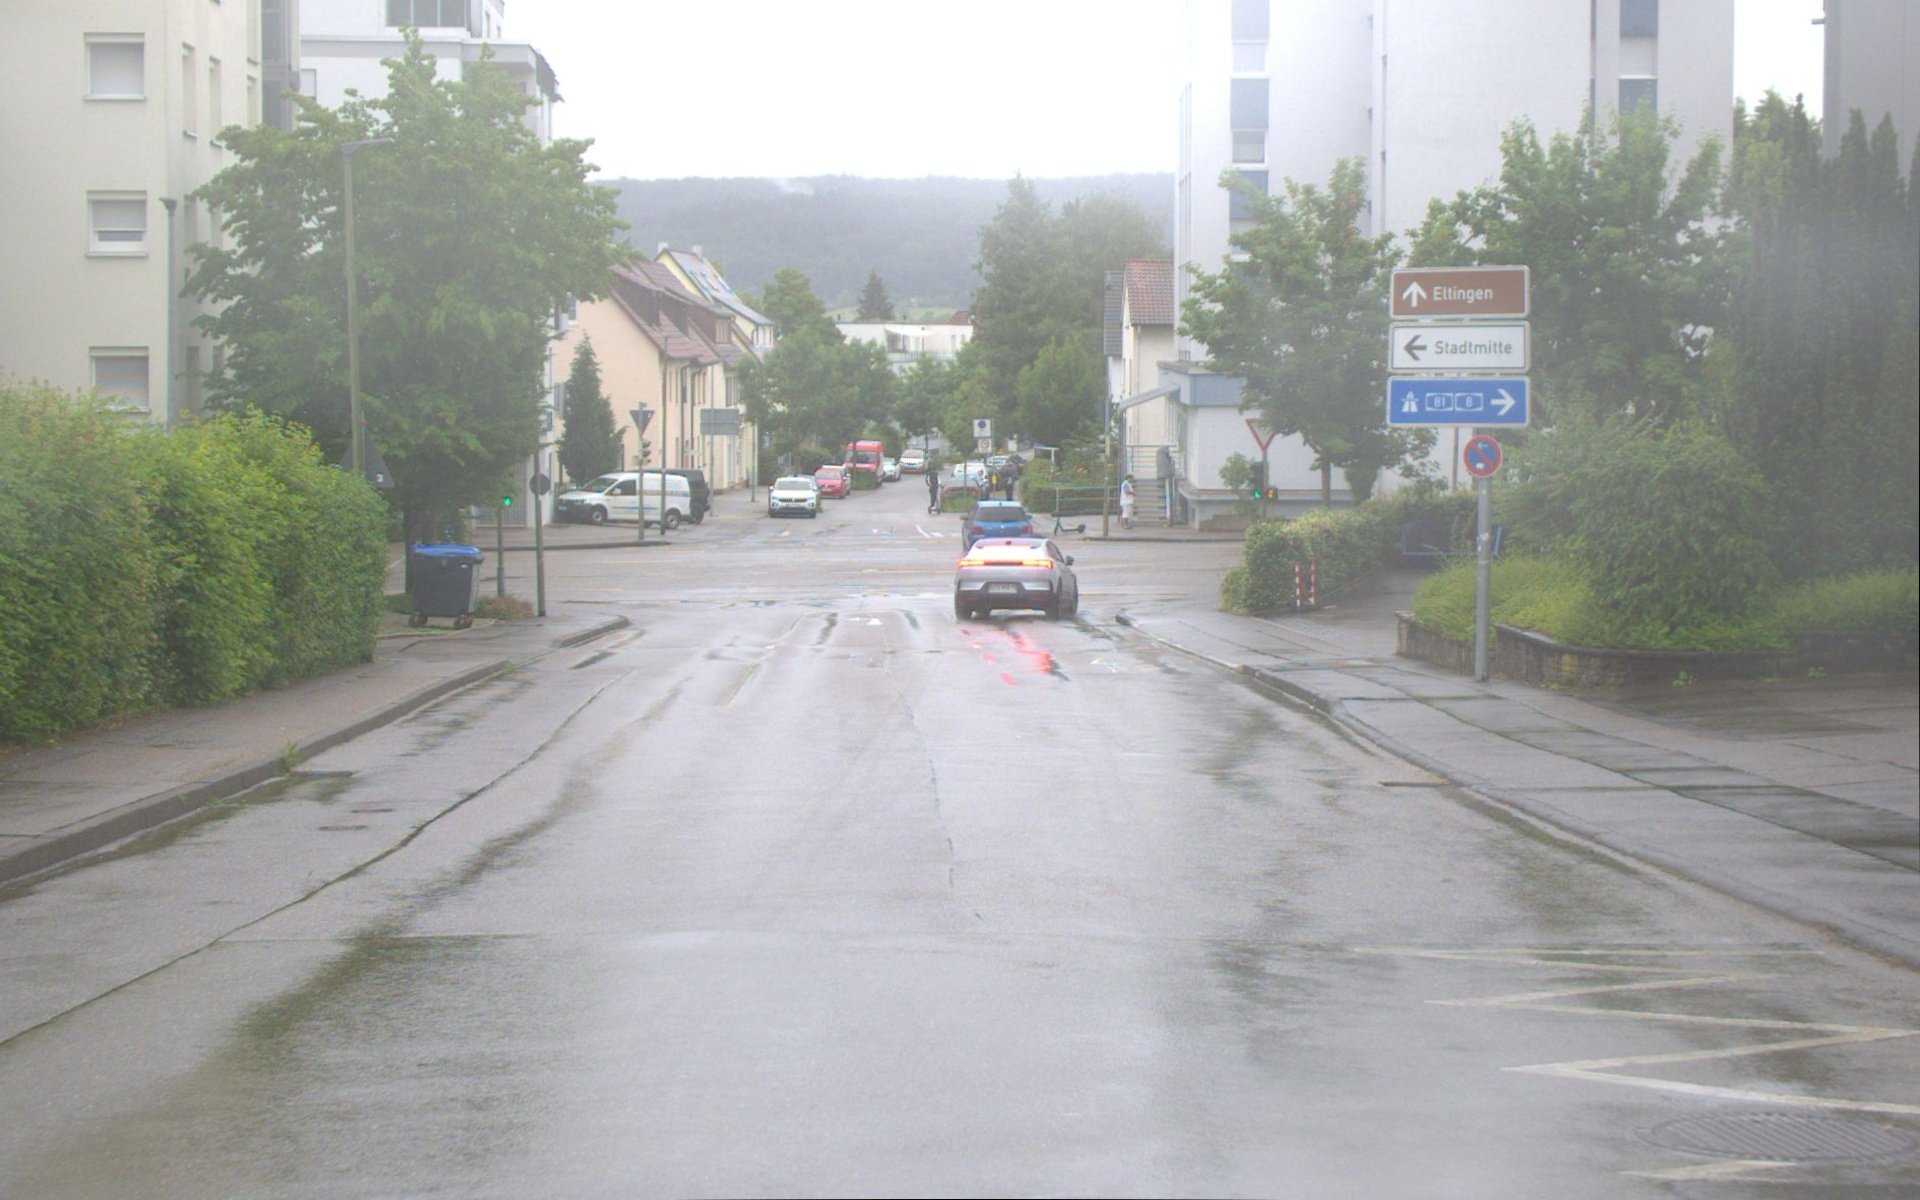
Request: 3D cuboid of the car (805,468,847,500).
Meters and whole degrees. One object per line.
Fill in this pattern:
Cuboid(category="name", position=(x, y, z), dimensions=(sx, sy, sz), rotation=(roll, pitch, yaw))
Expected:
Cuboid(category="car", position=(-6.674, -5.820, 172.004), dimensions=(1.901, 1.553, 4.192), rotation=(-1, 2, 0))

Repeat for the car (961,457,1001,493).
Cuboid(category="car", position=(1.024, -6.250, 171.169), dimensions=(1.901, 1.739, 4.192), rotation=(-1, 2, 0))

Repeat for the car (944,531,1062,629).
Cuboid(category="car", position=(0.783, -0.412, 65.435), dimensions=(1.993, 1.678, 4.001), rotation=(-1, 3, -3))

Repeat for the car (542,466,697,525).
Cuboid(category="car", position=(-11.410, -3.520, 115.285), dimensions=(4.830, 1.829, 1.999), rotation=(-3, 3, -38))

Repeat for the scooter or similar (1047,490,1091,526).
Cuboid(category="scooter or similar", position=(3.371, -2.844, 106.303), dimensions=(1.268, 1.077, 0.877), rotation=(-1, 2, -5))

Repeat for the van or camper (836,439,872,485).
Cuboid(category="van or camper", position=(-5.977, -7.820, 194.428), dimensions=(1.901, 2.504, 4.239), rotation=(-1, 2, 0))

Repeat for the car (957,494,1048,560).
Cuboid(category="car", position=(1.132, -2.003, 93.383), dimensions=(1.993, 1.678, 4.001), rotation=(-1, 3, -6))

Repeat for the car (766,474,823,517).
Cuboid(category="car", position=(-6.507, -4.126, 135.571), dimensions=(1.993, 1.620, 4.192), rotation=(-1, 2, 0))

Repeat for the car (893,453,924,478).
Cuboid(category="car", position=(-3.325, -8.719, 222.211), dimensions=(1.901, 1.553, 4.192), rotation=(-1, 2, 0))

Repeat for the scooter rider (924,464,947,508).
Cuboid(category="scooter rider", position=(-1.021, -4.730, 142.123), dimensions=(0.752, 1.789, 0.673), rotation=(-2, 2, -14))

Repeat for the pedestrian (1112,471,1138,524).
Cuboid(category="pedestrian", position=(5.170, -3.218, 107.665), dimensions=(0.647, 1.641, 0.526), rotation=(2, 2, -7))

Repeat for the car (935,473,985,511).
Cuboid(category="car", position=(-0.005, -4.684, 148.938), dimensions=(2.146, 1.583, 4.128), rotation=(-1, 2, 0))

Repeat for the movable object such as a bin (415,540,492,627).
Cuboid(category="movable object such as a bin", position=(-8.125, -0.278, 55.228), dimensions=(1.071, 1.343, 1.319), rotation=(1, 1, -3))

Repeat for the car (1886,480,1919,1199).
Cuboid(category="car", position=(2.856, 0.629, 4.348), dimensions=(1.993, 1.639, 4.959), rotation=(0, 1, 0))

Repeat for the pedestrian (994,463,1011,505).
Cuboid(category="pedestrian", position=(1.923, -5.224, 154.792), dimensions=(0.745, 1.842, 0.526), rotation=(0, 1, 2))
